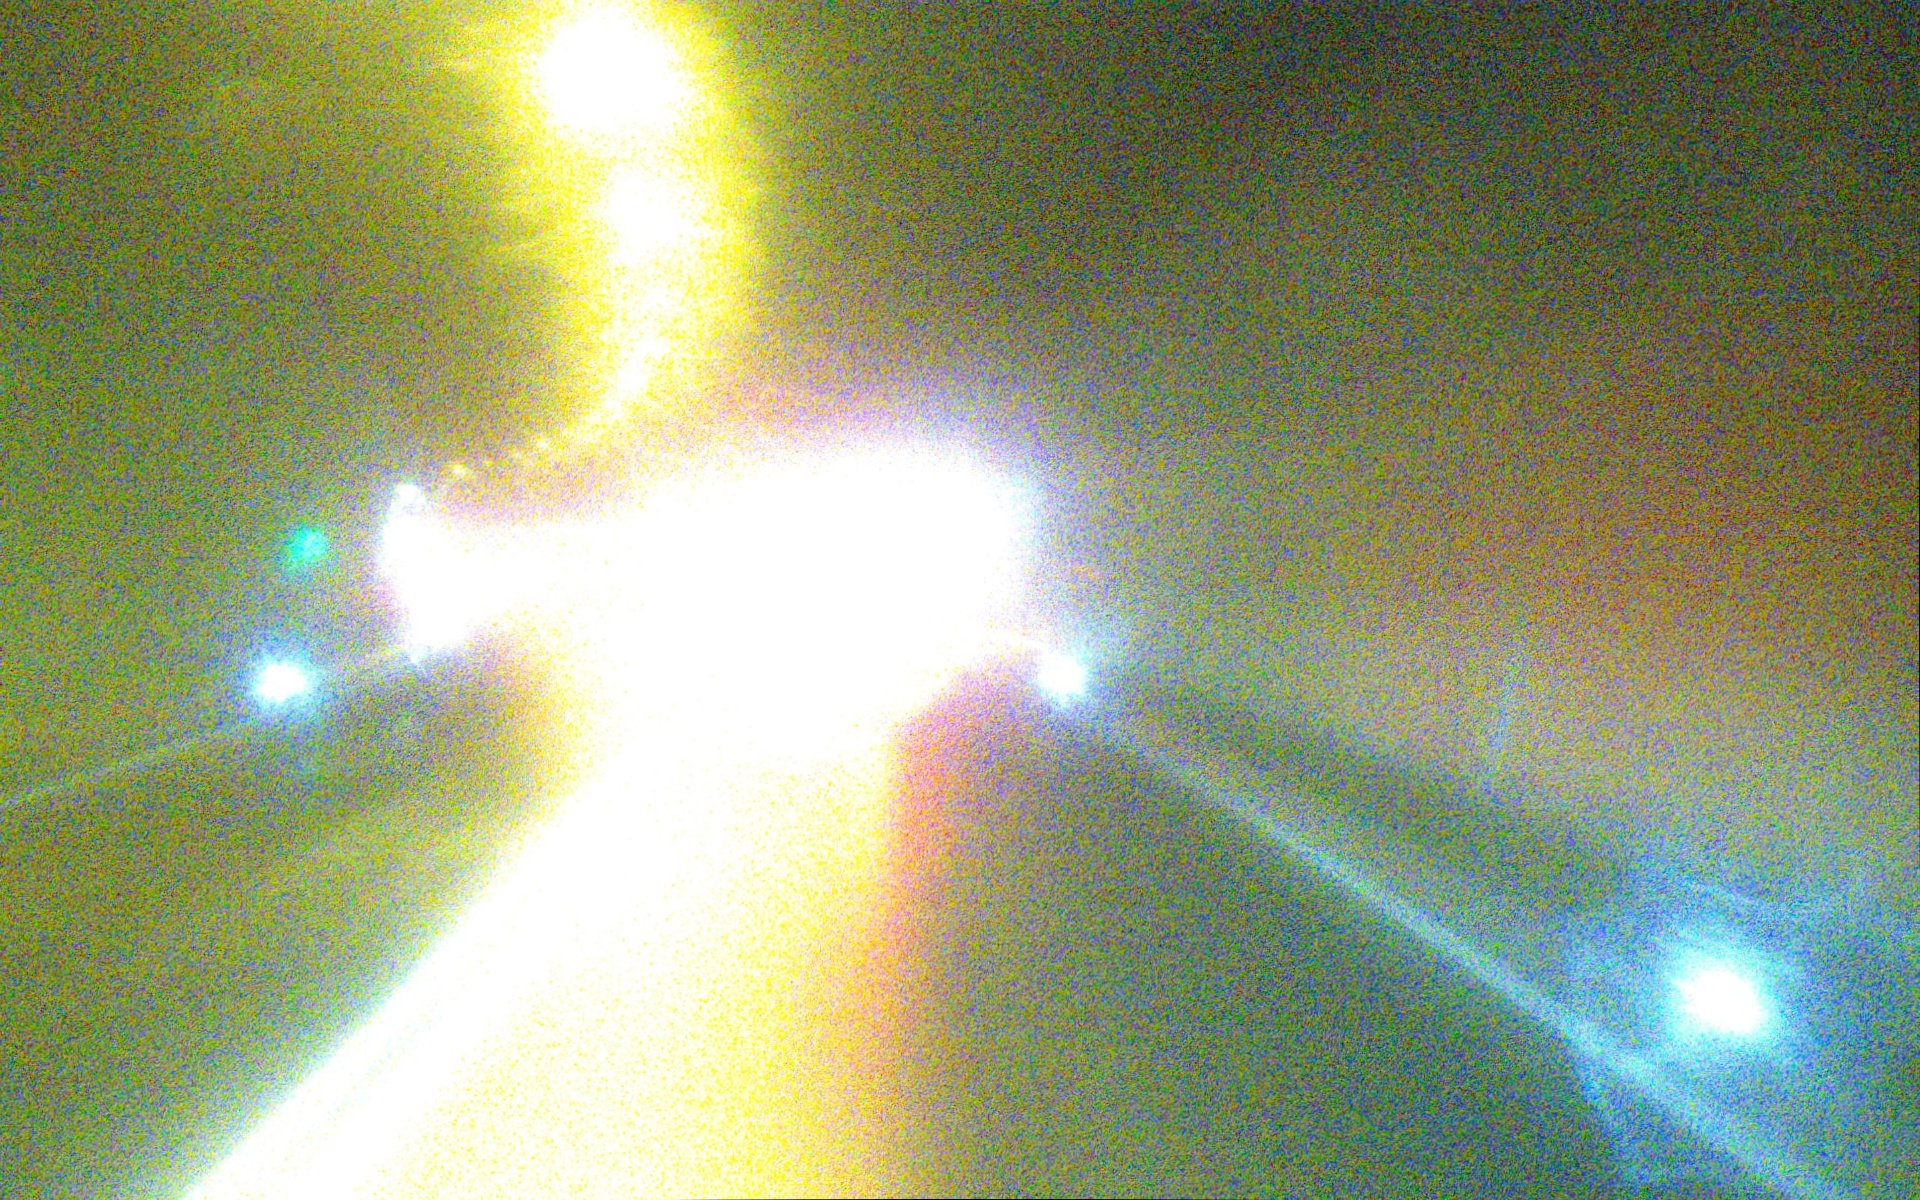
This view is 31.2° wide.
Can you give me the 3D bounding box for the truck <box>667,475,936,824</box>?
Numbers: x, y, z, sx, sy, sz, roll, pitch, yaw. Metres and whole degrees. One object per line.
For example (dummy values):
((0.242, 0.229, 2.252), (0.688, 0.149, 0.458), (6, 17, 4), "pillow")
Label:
((-1.459, 0.388, 34.188), (2.262, 3.000, 7.415), (2, 1, -1), "truck")
